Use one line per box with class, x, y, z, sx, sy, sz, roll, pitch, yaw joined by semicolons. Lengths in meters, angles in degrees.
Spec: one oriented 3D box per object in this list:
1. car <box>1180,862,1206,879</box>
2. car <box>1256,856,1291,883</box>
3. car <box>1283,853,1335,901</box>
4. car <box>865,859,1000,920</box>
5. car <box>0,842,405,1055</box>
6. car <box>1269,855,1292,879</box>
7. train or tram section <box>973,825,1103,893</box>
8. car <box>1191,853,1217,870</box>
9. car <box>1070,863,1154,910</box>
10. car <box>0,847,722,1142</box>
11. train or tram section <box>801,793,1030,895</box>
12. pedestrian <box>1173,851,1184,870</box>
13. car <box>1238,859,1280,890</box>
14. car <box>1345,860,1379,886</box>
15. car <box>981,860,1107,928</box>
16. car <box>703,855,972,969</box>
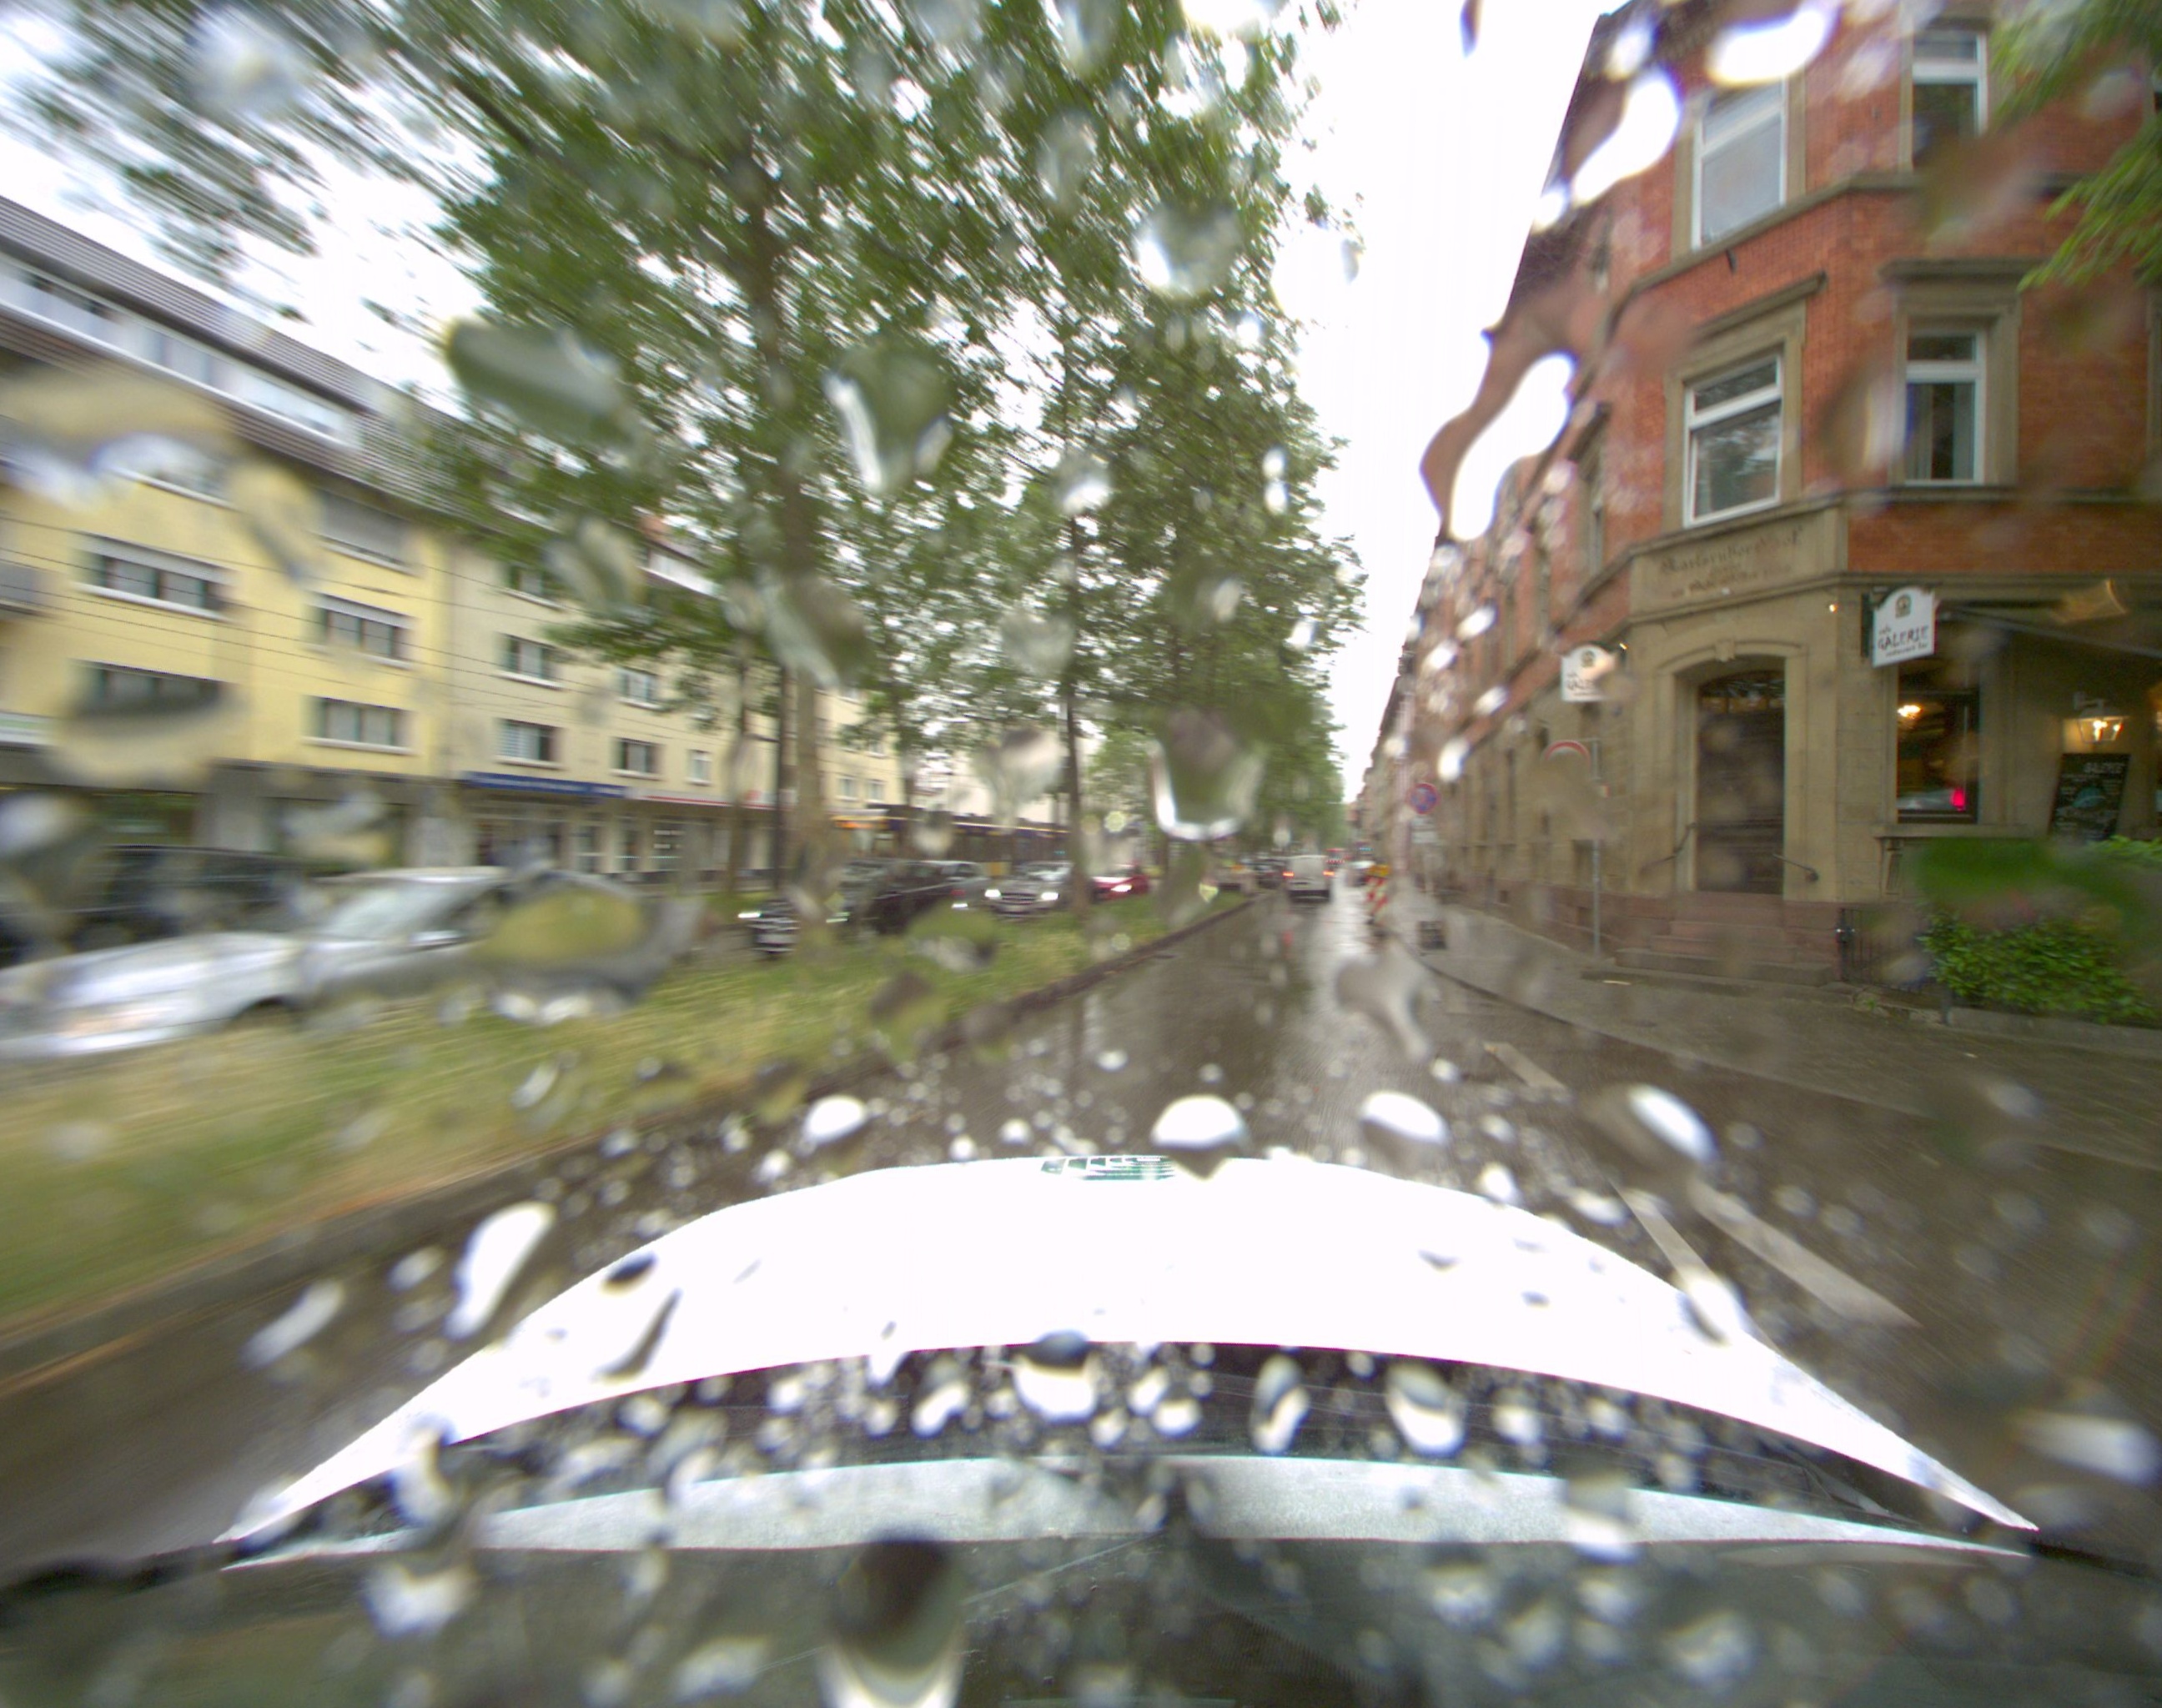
car;10.162;1.462;73.830;1.725;1.343;3.772;4;1;17
car;12.398;0.986;52.294;1.685;1.635;4.375;0;0;19
car;9.148;0.915;32.835;1.890;1.797;4.129;1;-1;15
car;-3.801;0.866;21.585;1.727;1.397;4.149;1;0;18
car;-8.394;0.658;6.523;1.860;1.502;4.299;1;0;13
car;15.165;0.981;61.874;1.612;1.681;3.674;2;1;15
train or tram section;-2.096;0.528;49.958;3.082;3.559;14.736;1;-2;17
car;12.364;0.775;81.751;1.978;1.613;4.017;1;0;17
car;1.142;1.033;27.619;1.727;1.397;4.252;1;0;18
car;-5.238;0.725;6.590;1.721;1.489;4.519;1;0;16
train or tram section;-6.373;-0.102;35.895;3.081;3.559;14.640;1;-2;17
pedestrian;8.904;0.573;74.643;0.811;1.703;0.876;1;0;16
car;9.599;1.057;43.693;1.814;1.503;4.633;2;0;17
car;16.886;1.112;48.840;1.798;1.421;4.720;-3;-1;20
car;-0.796;0.923;20.803;1.727;1.480;4.452;1;0;18
car;-3.647;0.775;13.257;1.842;1.485;4.661;1;0;18
